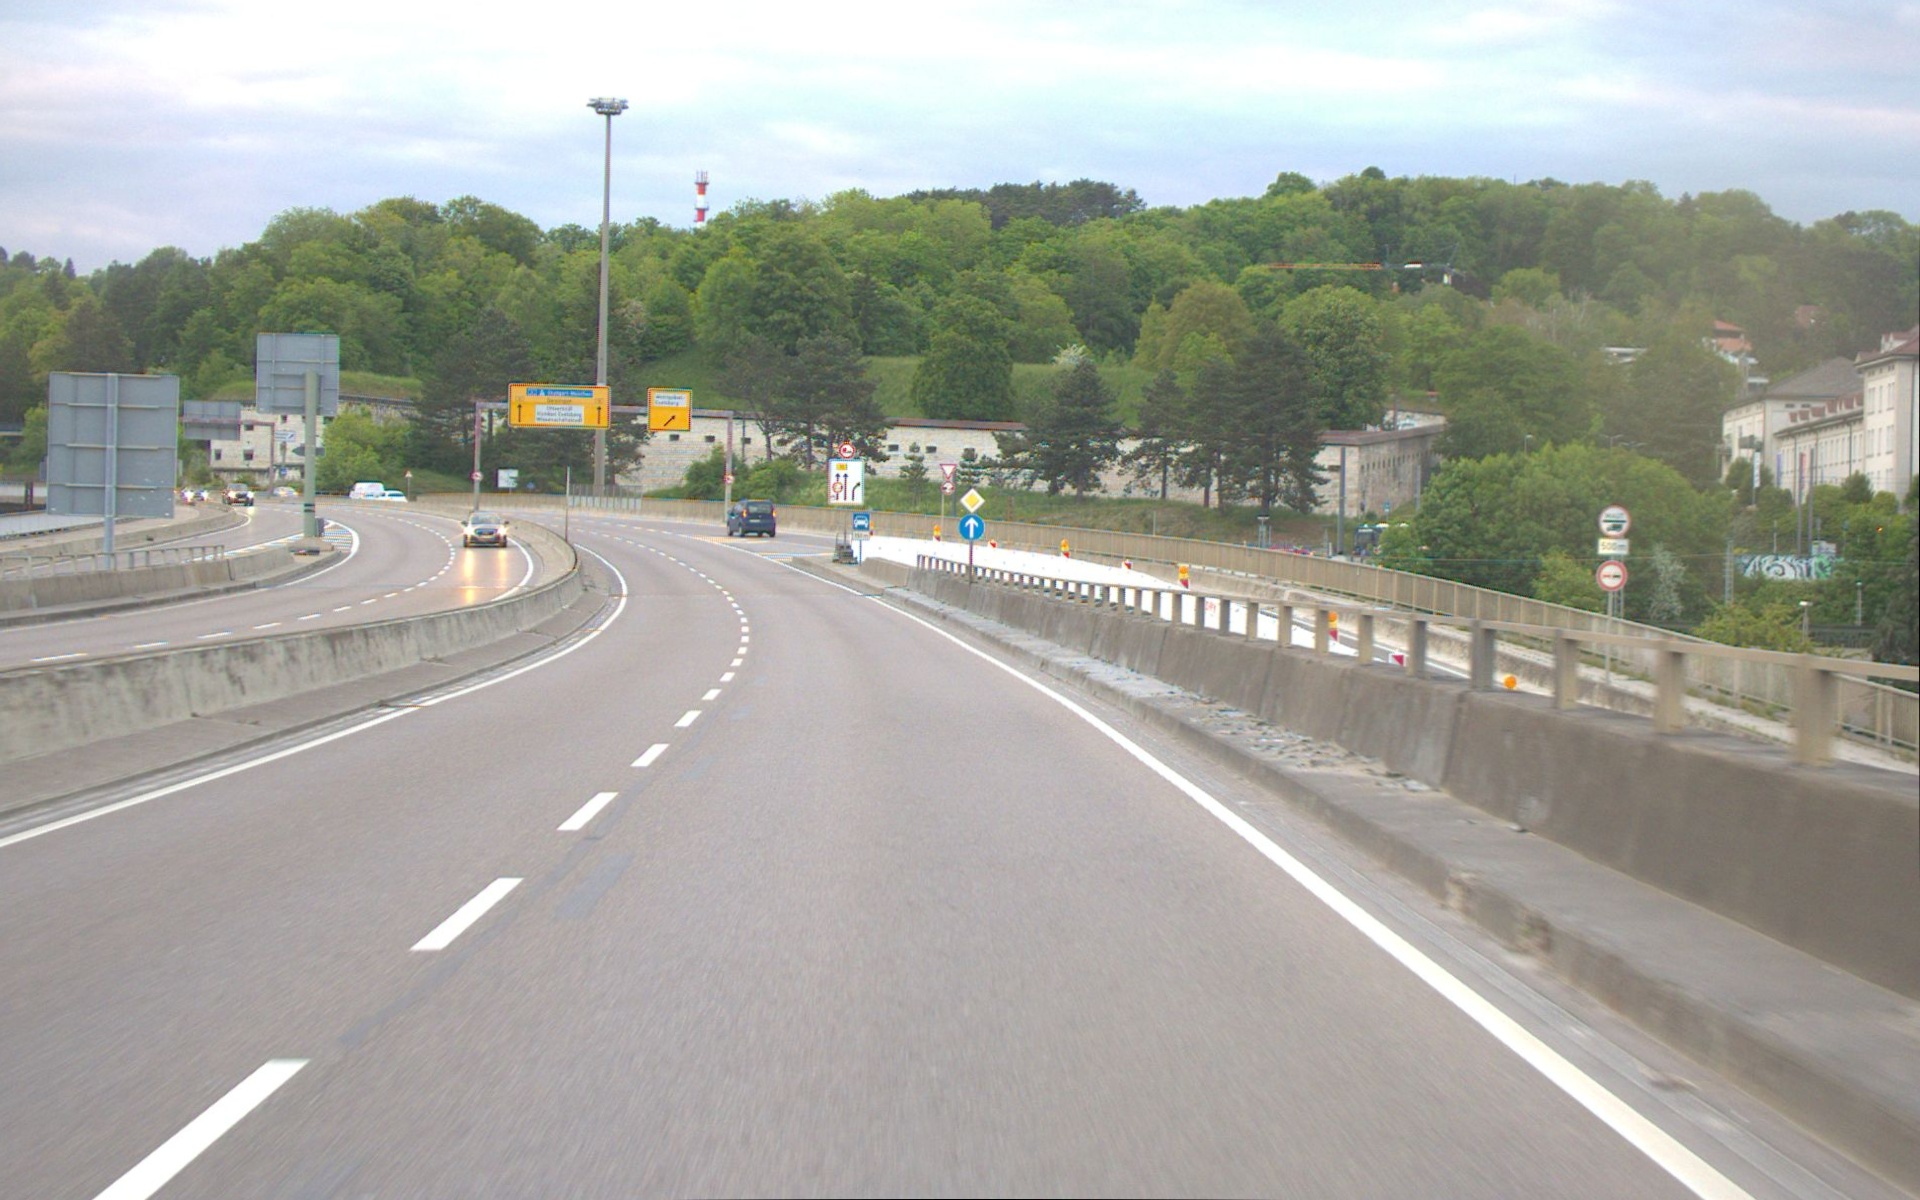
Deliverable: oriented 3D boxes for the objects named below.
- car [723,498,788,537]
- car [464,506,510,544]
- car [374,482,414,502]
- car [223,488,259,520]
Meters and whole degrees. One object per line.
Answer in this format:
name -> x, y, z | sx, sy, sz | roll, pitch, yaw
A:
car -> -10.201, -4.115, 171.282 | 2.304, 1.757, 4.264 | 2, 1, -16
car -> -19.722, -3.114, 143.197 | 1.829, 1.475, 4.288 | 1, 0, -9
car -> -40.842, -7.779, 247.810 | 1.631, 1.383, 4.001 | -1, 3, -28
car -> -52.483, -6.985, 250.930 | 1.637, 1.710, 4.001 | -19, 4, -18
